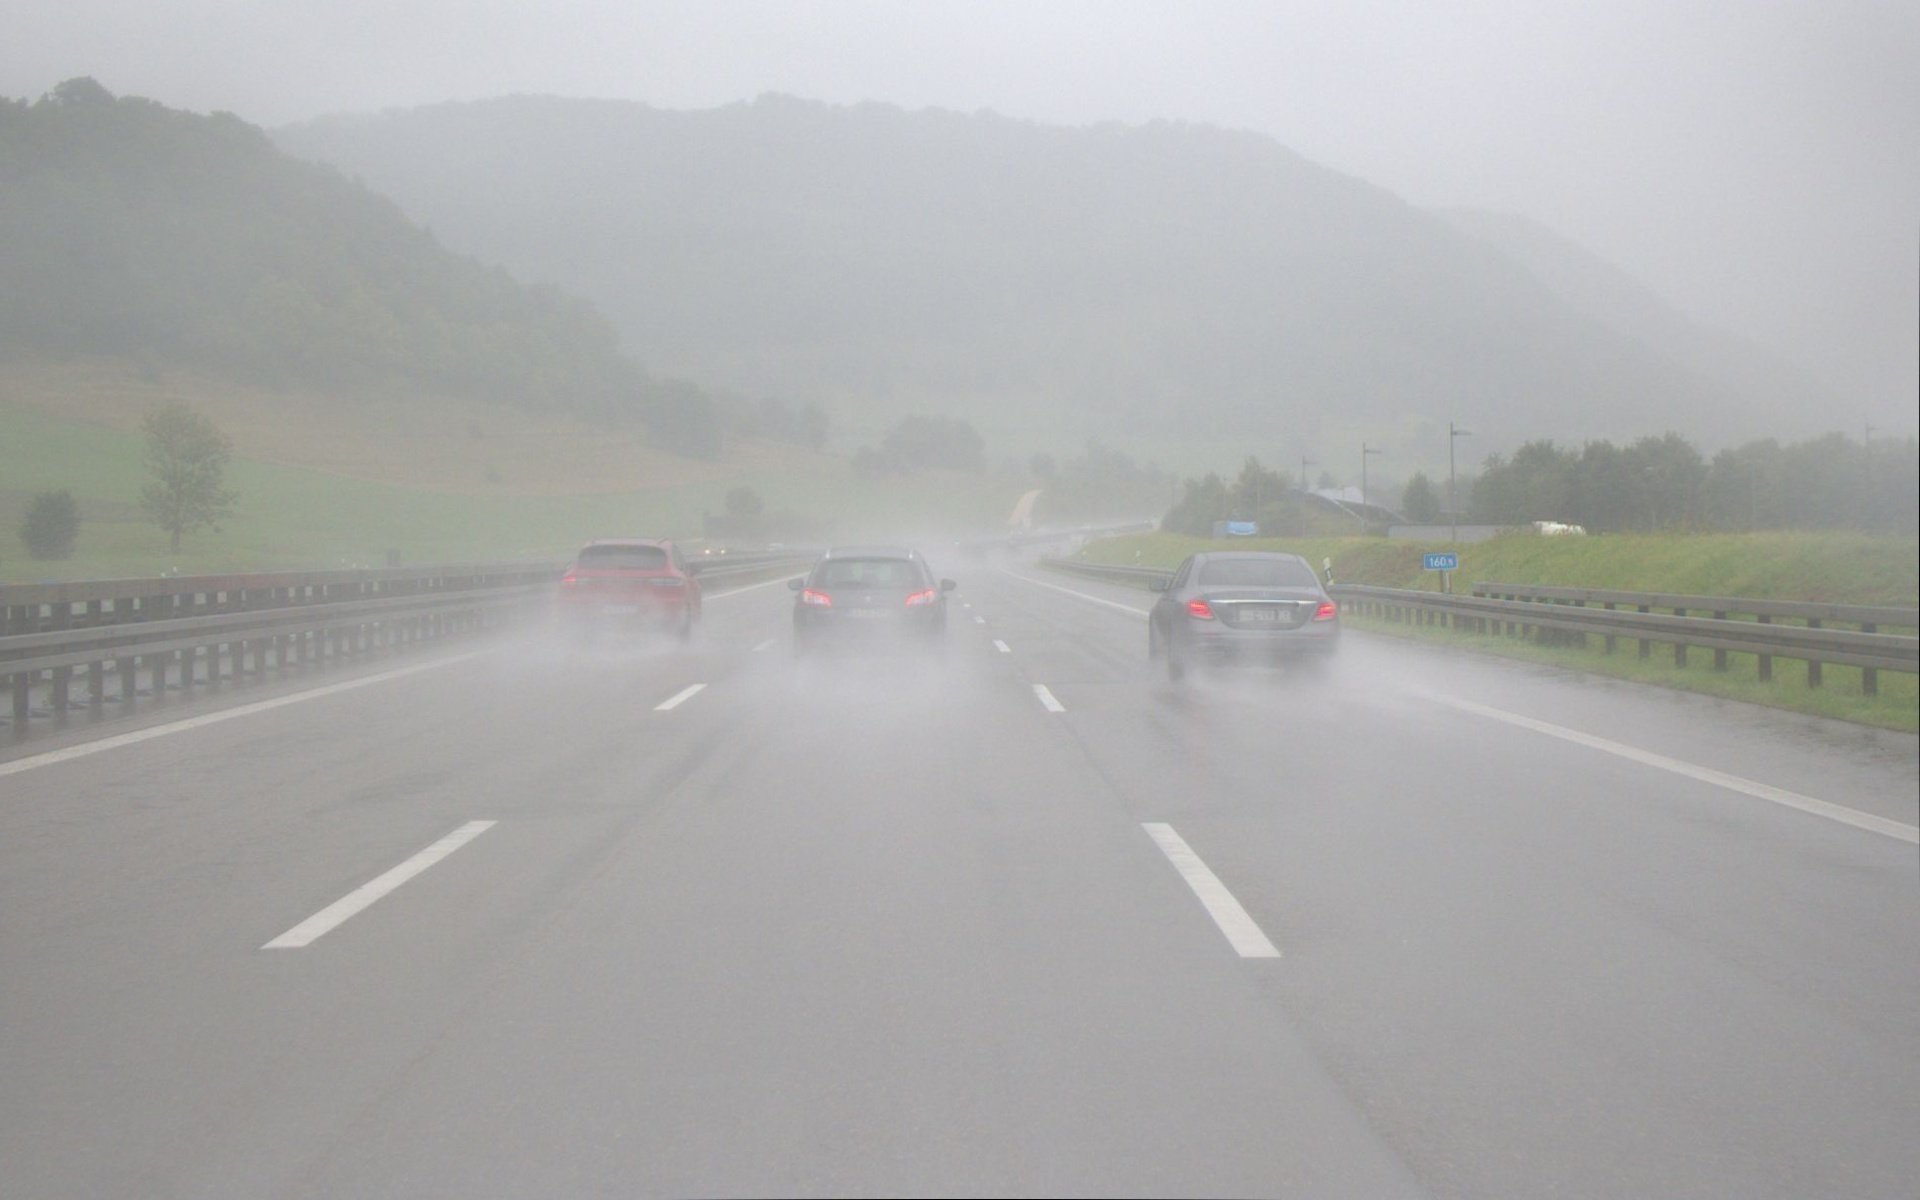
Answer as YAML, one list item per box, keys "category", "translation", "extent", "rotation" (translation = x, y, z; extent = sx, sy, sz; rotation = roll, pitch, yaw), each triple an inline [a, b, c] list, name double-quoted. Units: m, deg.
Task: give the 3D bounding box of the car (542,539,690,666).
- category: "car"
  translation: [-5.112, -0.001, 51.558]
  extent: [1.884, 1.809, 4.000]
  rotation: [0, 1, -1]

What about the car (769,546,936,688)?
- category: "car"
  translation: [-1.237, 0.169, 41.076]
  extent: [1.859, 1.584, 4.000]
  rotation: [1, 1, 0]

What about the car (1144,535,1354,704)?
- category: "car"
  translation: [3.167, 0.166, 38.366]
  extent: [1.971, 1.754, 4.000]
  rotation: [-1, 1, 0]
